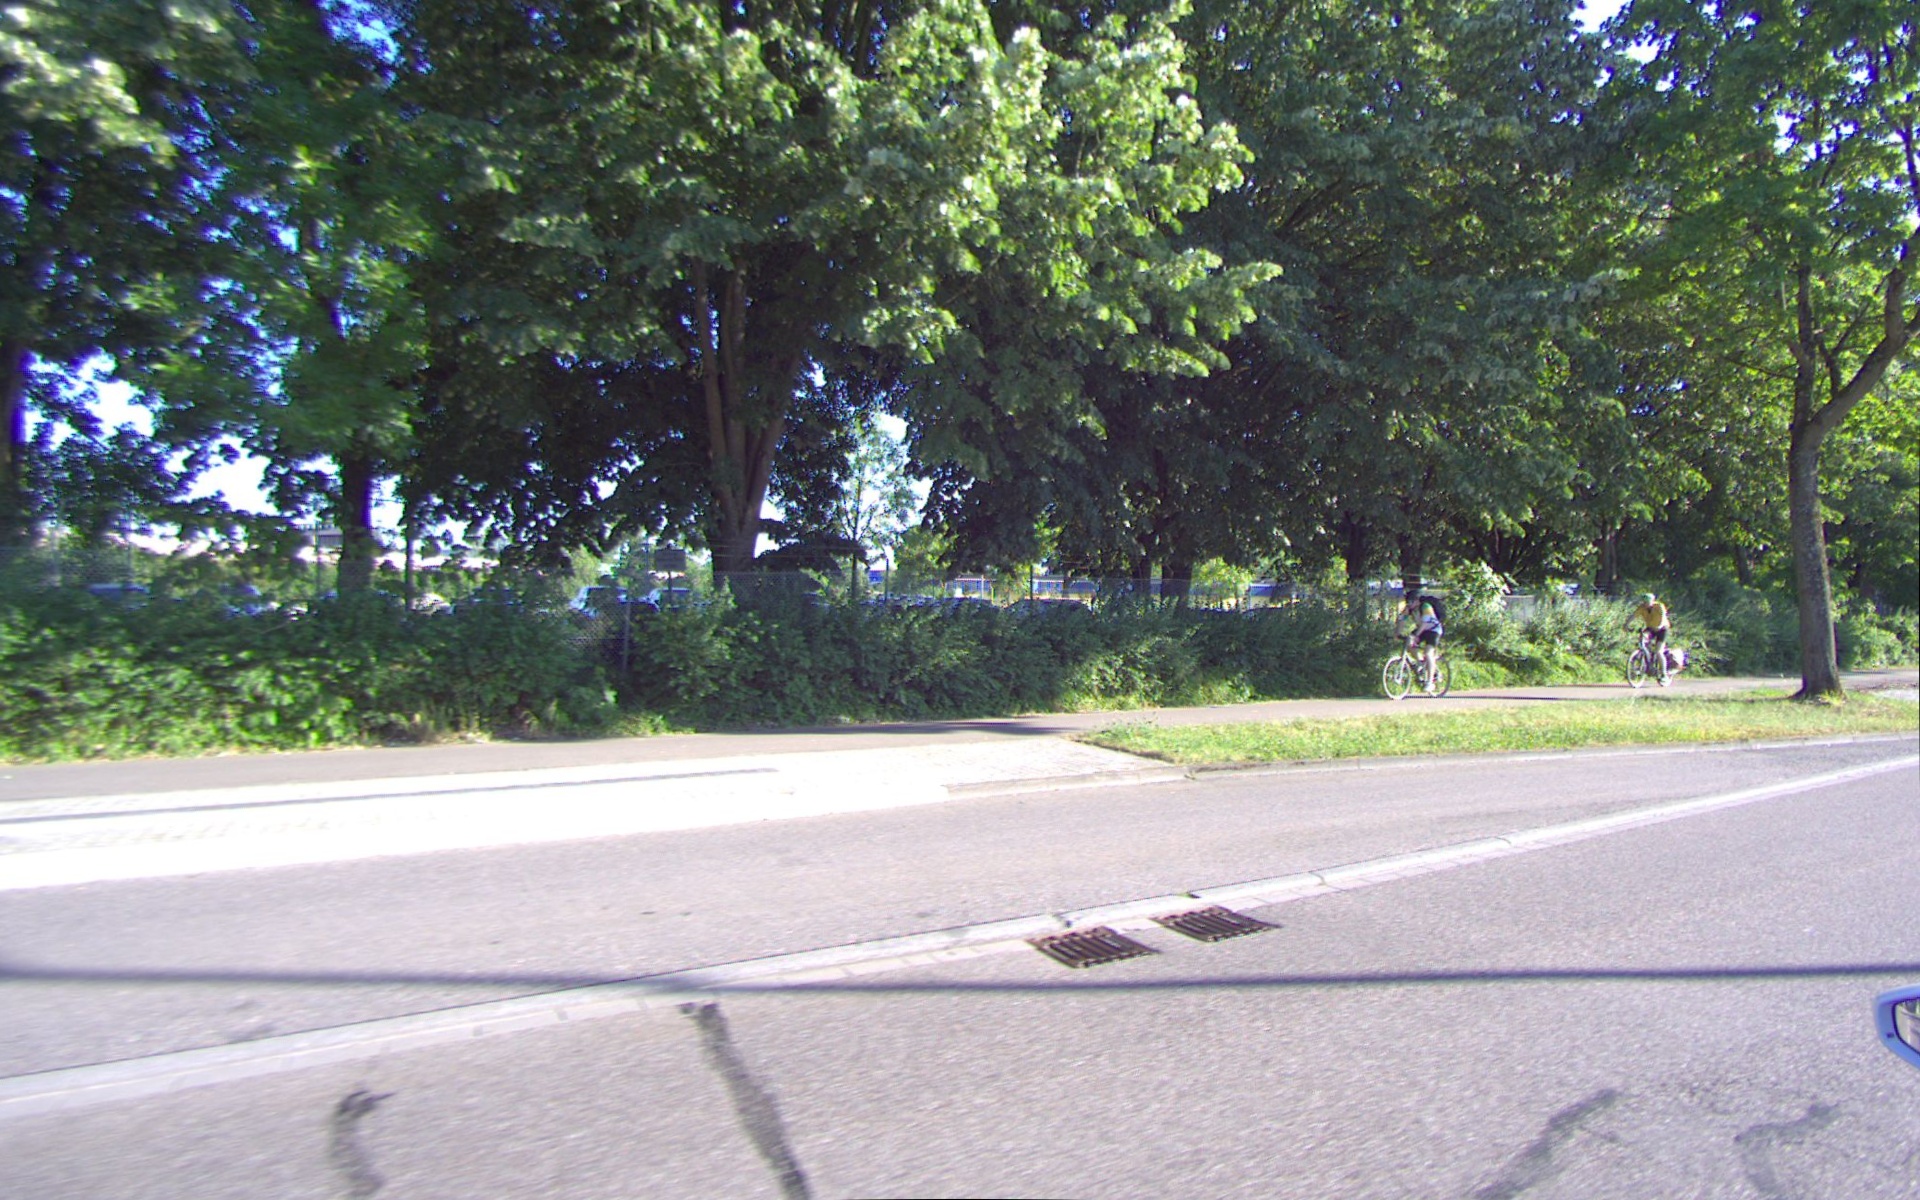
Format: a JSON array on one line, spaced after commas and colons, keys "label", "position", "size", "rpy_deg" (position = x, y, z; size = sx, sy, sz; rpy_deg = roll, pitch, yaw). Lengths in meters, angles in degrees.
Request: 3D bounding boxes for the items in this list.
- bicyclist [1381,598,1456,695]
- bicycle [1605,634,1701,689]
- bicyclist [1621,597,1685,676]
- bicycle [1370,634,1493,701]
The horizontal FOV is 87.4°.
[{"label": "bicyclist", "position": [7.623, 0.761, 16.707], "size": [0.940, 1.550, 0.727], "rpy_deg": [1, -1, -30]}, {"label": "bicycle", "position": [14.078, 1.230, 20.395], "size": [2.191, 1.053, 0.762], "rpy_deg": [1, -1, -30]}, {"label": "bicyclist", "position": [14.022, 0.738, 20.322], "size": [0.940, 1.550, 0.727], "rpy_deg": [1, -1, -30]}, {"label": "bicycle", "position": [7.927, 1.108, 16.863], "size": [2.191, 1.053, 0.762], "rpy_deg": [1, -1, -30]}]
